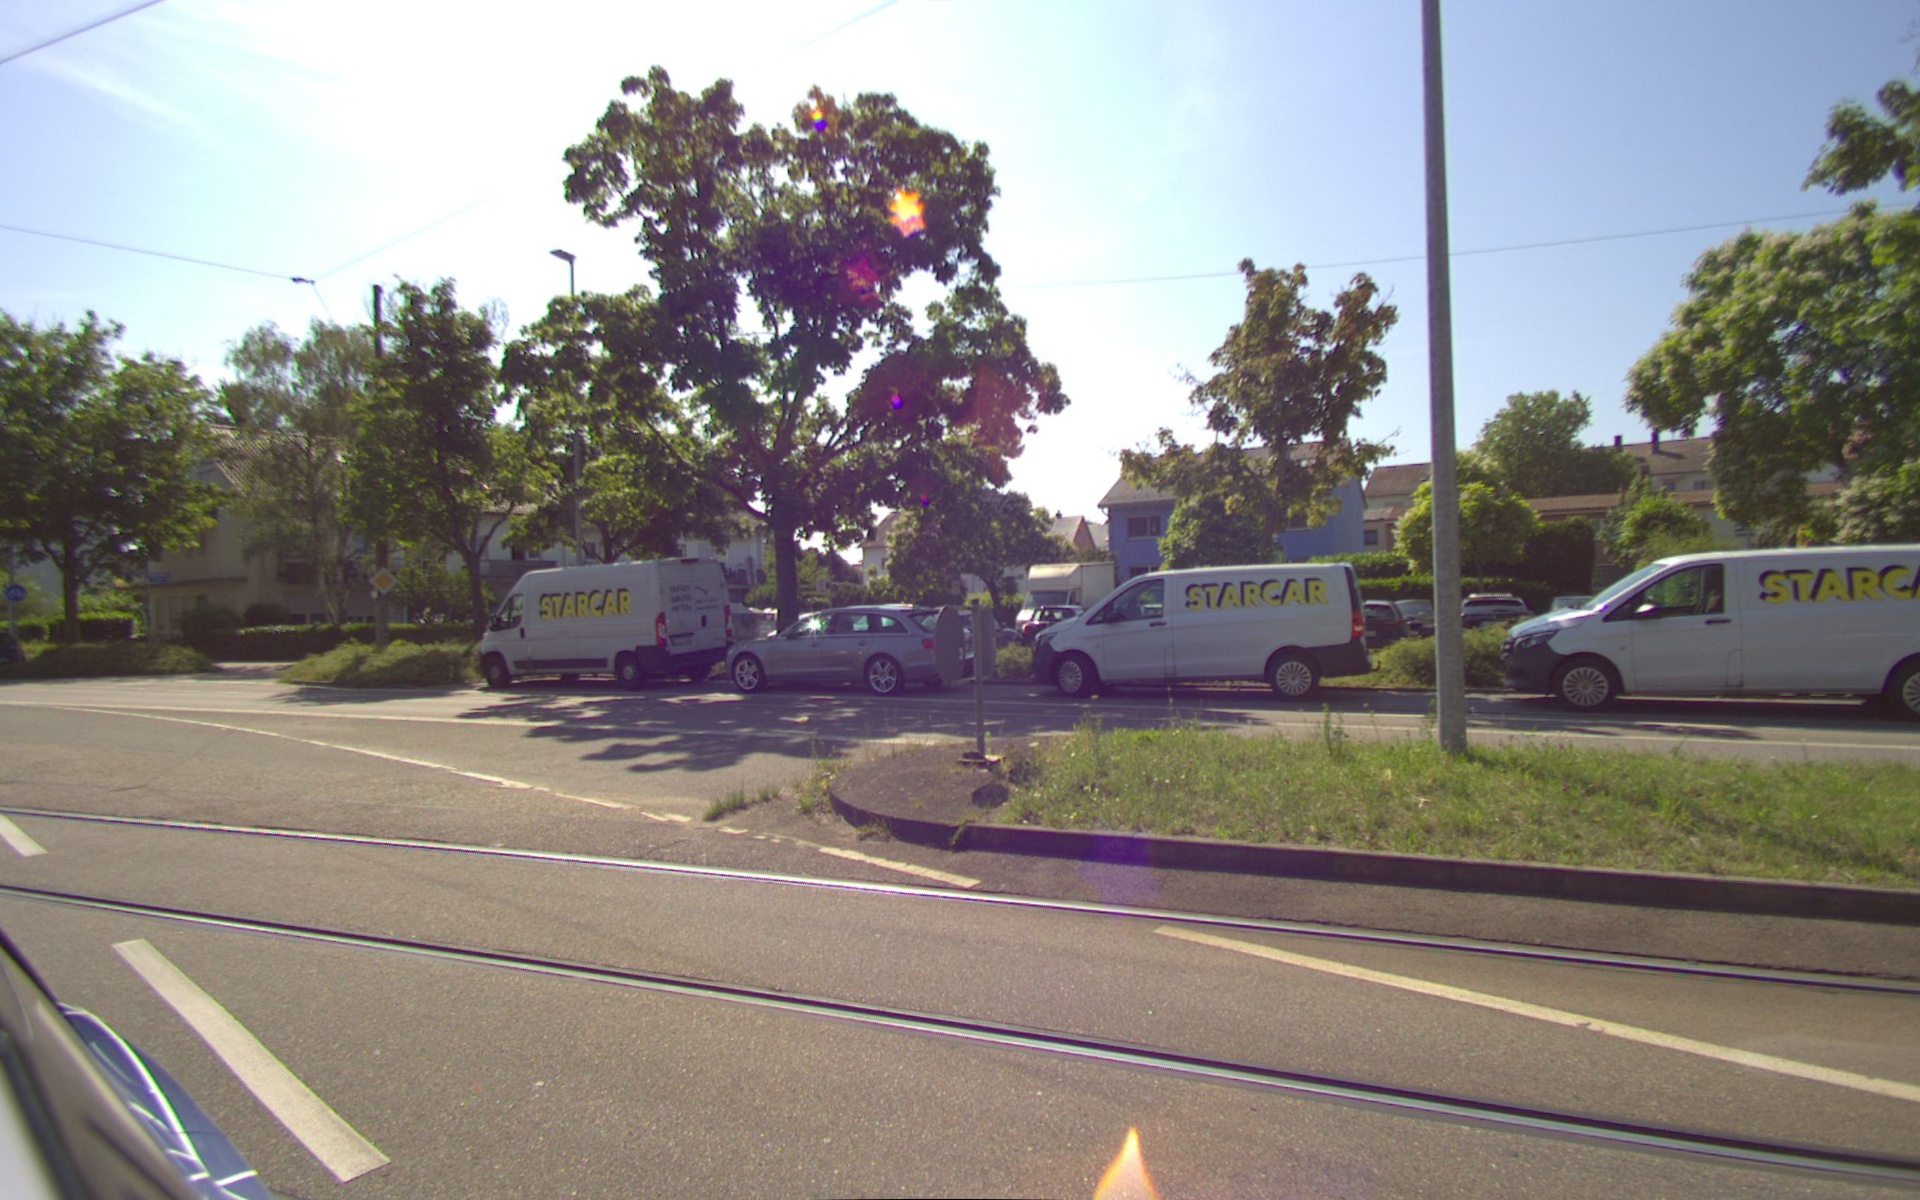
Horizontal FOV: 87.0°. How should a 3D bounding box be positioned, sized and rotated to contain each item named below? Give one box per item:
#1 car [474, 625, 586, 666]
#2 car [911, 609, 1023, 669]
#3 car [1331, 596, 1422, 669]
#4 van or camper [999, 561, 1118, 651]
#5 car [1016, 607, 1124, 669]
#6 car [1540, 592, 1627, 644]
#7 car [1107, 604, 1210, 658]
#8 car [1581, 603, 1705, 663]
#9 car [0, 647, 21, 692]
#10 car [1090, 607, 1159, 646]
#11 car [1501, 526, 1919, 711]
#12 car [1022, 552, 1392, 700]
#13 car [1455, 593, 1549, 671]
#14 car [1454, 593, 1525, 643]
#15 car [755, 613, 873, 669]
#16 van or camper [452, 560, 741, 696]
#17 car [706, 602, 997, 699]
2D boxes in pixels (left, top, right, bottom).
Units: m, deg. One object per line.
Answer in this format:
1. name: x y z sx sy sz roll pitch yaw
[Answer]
1. car: -17.794 1.857 41.988 1.802 1.536 3.954 -2 -1 33
2. car: 0.285 1.067 28.812 1.654 1.556 3.965 -2 -1 25
3. car: 9.851 0.735 23.810 1.655 1.556 3.964 -2 -1 27
4. van or camper: 4.118 0.253 40.863 2.567 3.269 6.913 -2 -1 25
5. car: 3.074 0.981 27.644 1.655 1.556 3.964 -2 -1 27
6. car: 20.107 0.558 32.783 1.774 1.556 3.968 -2 -1 24
7. car: 5.281 0.780 26.583 1.655 1.280 3.893 -2 -1 27
8. car: 14.360 0.657 21.483 1.655 1.162 3.866 -2 -1 27
9. car: -33.824 2.387 34.414 4.065 1.461 1.605 -2 -1 29
10. car: 6.534 1.020 39.920 1.692 1.446 3.967 -2 -1 24
11. car: 9.512 0.194 12.243 5.162 1.955 2.182 -2 1 29
12. car: 3.755 0.387 15.459 5.152 1.955 2.186 -2 1 24
13. car: 11.982 0.671 22.531 1.655 1.556 3.964 -2 -1 27
14. car: 17.748 0.594 34.086 1.774 1.556 3.968 -2 -1 24
15. car: -4.400 1.206 30.984 1.654 1.556 3.965 -2 -1 25
16. van or camper: -7.728 0.622 21.278 6.120 2.534 2.242 -2 -1 29
17. car: -1.954 0.864 17.900 4.861 1.465 1.920 -2 1 28
